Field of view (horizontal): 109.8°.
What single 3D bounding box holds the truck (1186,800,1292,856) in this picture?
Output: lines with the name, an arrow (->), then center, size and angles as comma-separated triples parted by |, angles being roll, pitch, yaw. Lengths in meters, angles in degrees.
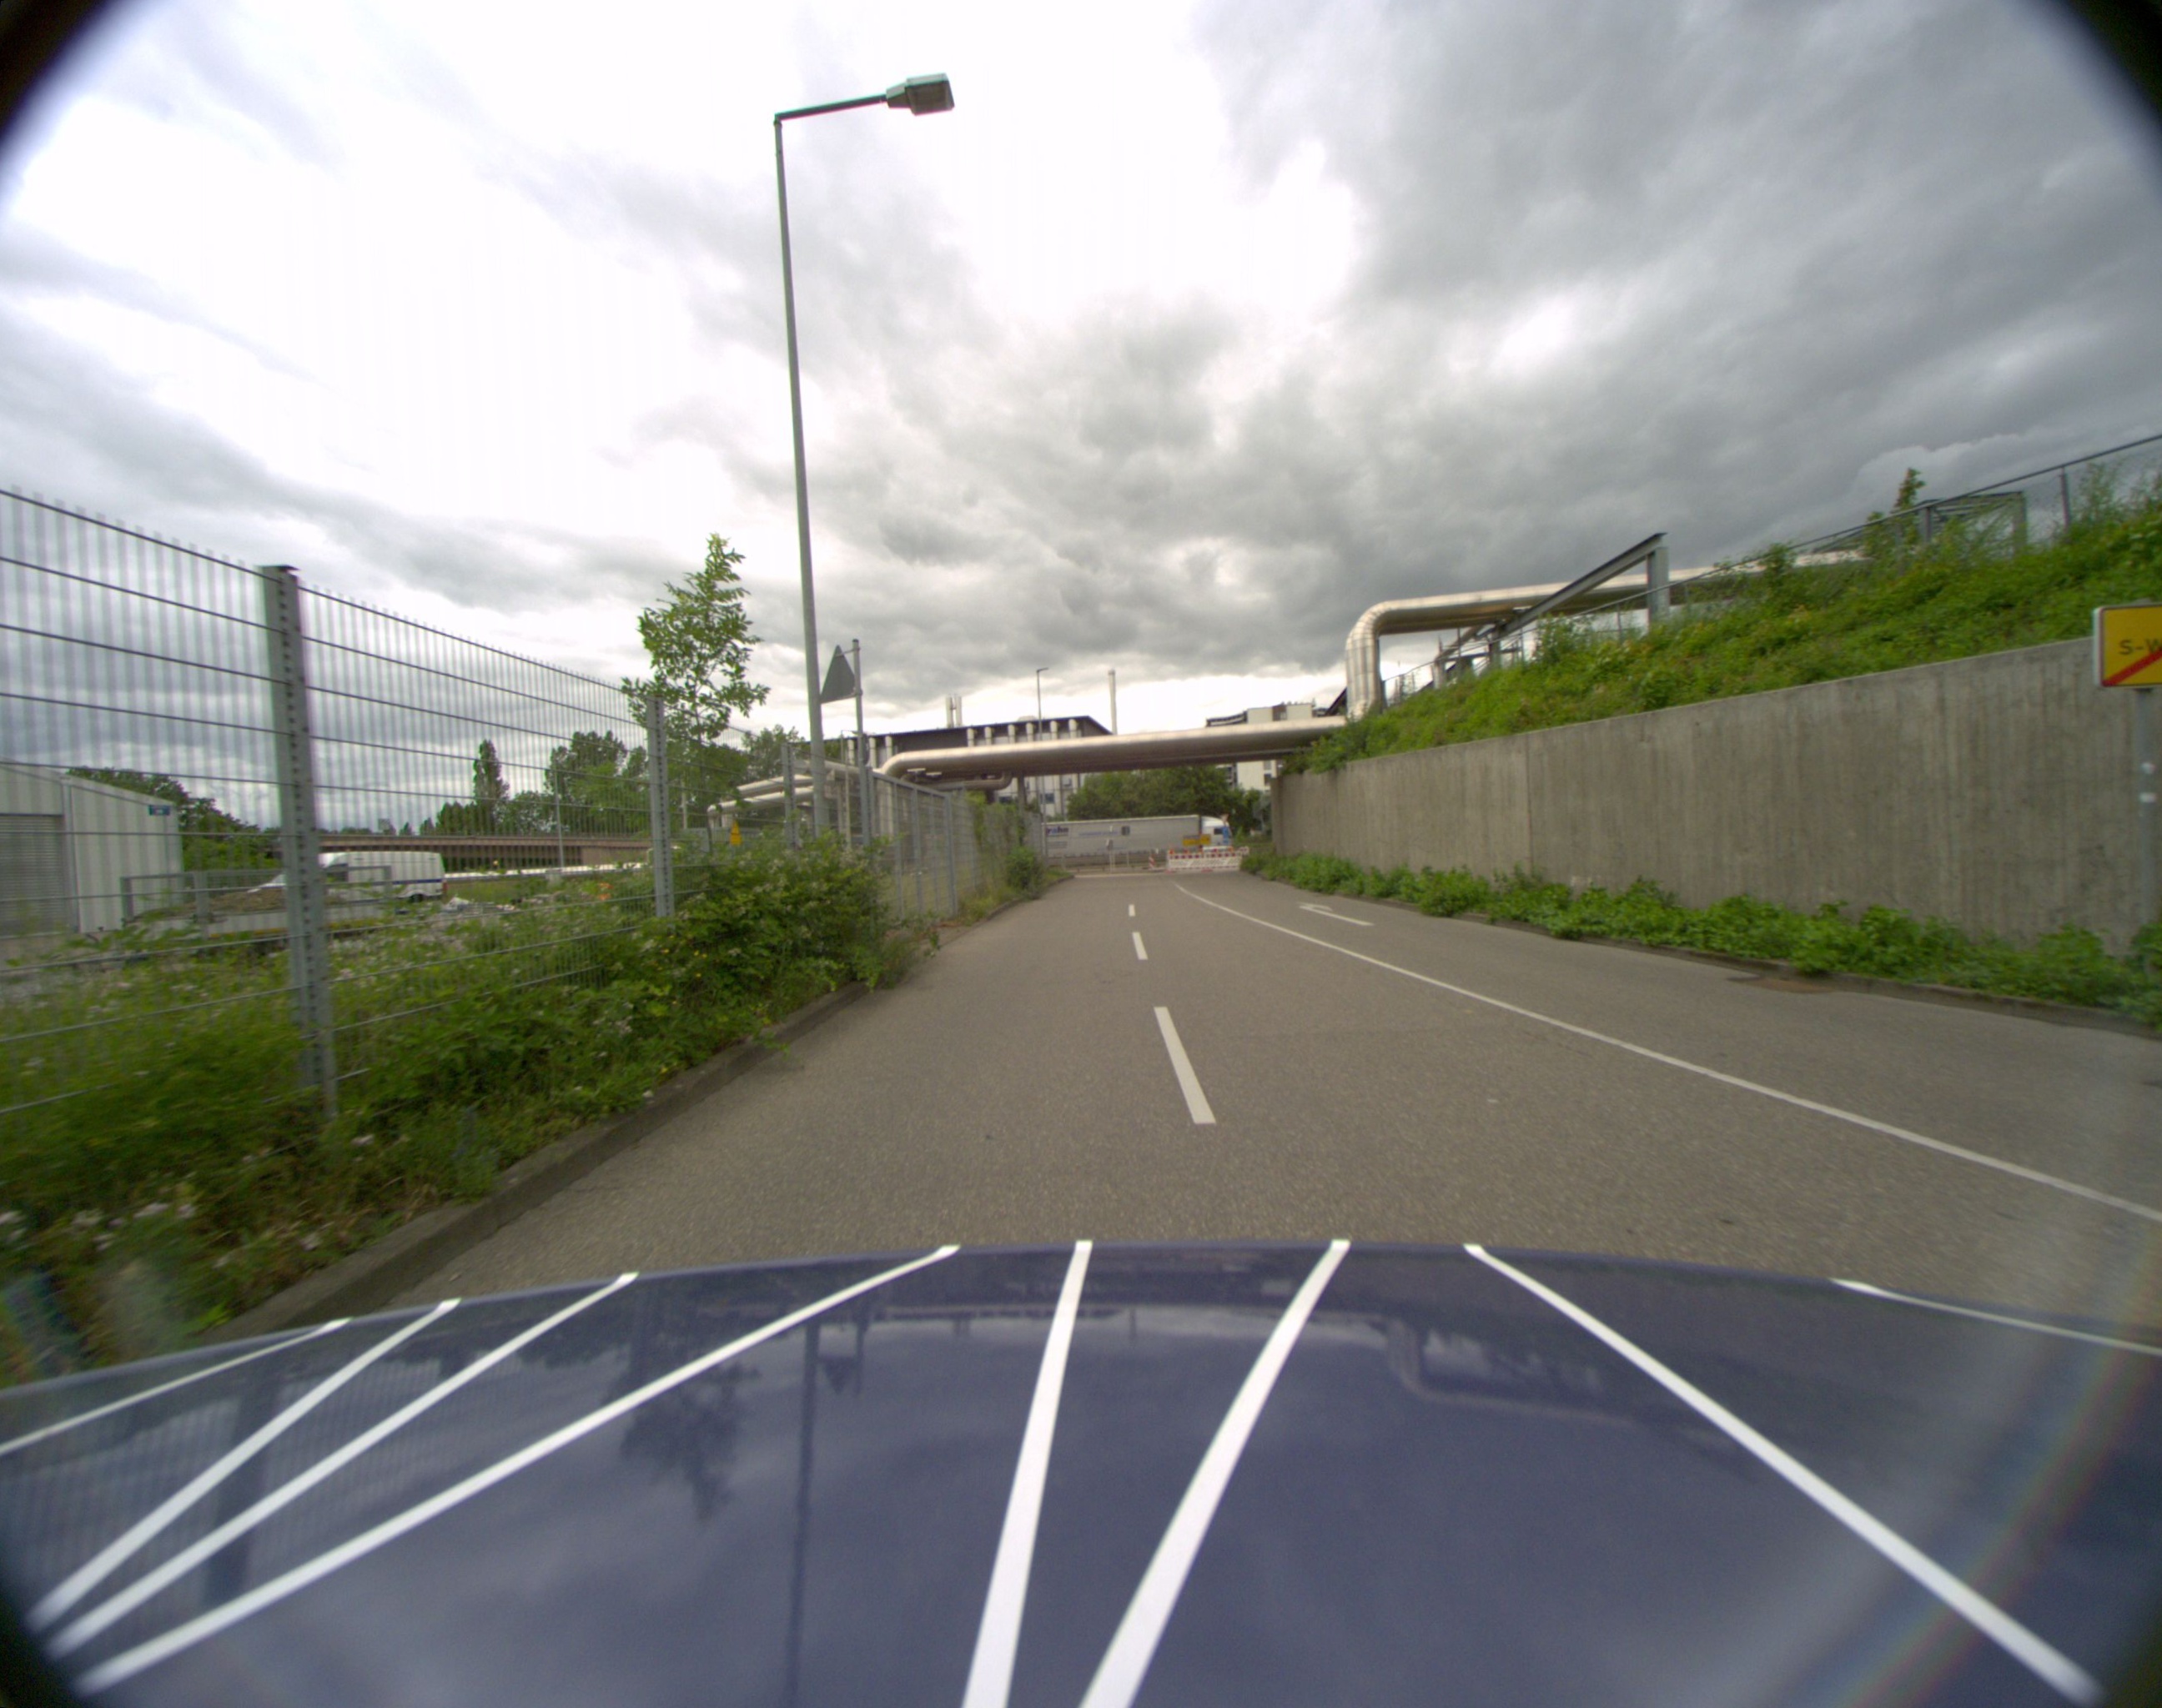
truck -> 13.261, -2.232, 64.238 | 8.133, 4.109, 3.163 | -3, 4, 2

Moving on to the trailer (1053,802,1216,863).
trailer -> 4.493, -1.833, 64.597 | 13.251, 4.301, 3.165 | -3, 3, 2

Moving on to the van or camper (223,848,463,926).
van or camper -> -28.261, 1.152, 29.541 | 2.571, 2.534, 6.131 | -2, 1, 13

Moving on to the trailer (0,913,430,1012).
trailer -> -13.970, 1.635, 12.340 | 2.302, 0.811, 4.693 | -3, 1, 11
